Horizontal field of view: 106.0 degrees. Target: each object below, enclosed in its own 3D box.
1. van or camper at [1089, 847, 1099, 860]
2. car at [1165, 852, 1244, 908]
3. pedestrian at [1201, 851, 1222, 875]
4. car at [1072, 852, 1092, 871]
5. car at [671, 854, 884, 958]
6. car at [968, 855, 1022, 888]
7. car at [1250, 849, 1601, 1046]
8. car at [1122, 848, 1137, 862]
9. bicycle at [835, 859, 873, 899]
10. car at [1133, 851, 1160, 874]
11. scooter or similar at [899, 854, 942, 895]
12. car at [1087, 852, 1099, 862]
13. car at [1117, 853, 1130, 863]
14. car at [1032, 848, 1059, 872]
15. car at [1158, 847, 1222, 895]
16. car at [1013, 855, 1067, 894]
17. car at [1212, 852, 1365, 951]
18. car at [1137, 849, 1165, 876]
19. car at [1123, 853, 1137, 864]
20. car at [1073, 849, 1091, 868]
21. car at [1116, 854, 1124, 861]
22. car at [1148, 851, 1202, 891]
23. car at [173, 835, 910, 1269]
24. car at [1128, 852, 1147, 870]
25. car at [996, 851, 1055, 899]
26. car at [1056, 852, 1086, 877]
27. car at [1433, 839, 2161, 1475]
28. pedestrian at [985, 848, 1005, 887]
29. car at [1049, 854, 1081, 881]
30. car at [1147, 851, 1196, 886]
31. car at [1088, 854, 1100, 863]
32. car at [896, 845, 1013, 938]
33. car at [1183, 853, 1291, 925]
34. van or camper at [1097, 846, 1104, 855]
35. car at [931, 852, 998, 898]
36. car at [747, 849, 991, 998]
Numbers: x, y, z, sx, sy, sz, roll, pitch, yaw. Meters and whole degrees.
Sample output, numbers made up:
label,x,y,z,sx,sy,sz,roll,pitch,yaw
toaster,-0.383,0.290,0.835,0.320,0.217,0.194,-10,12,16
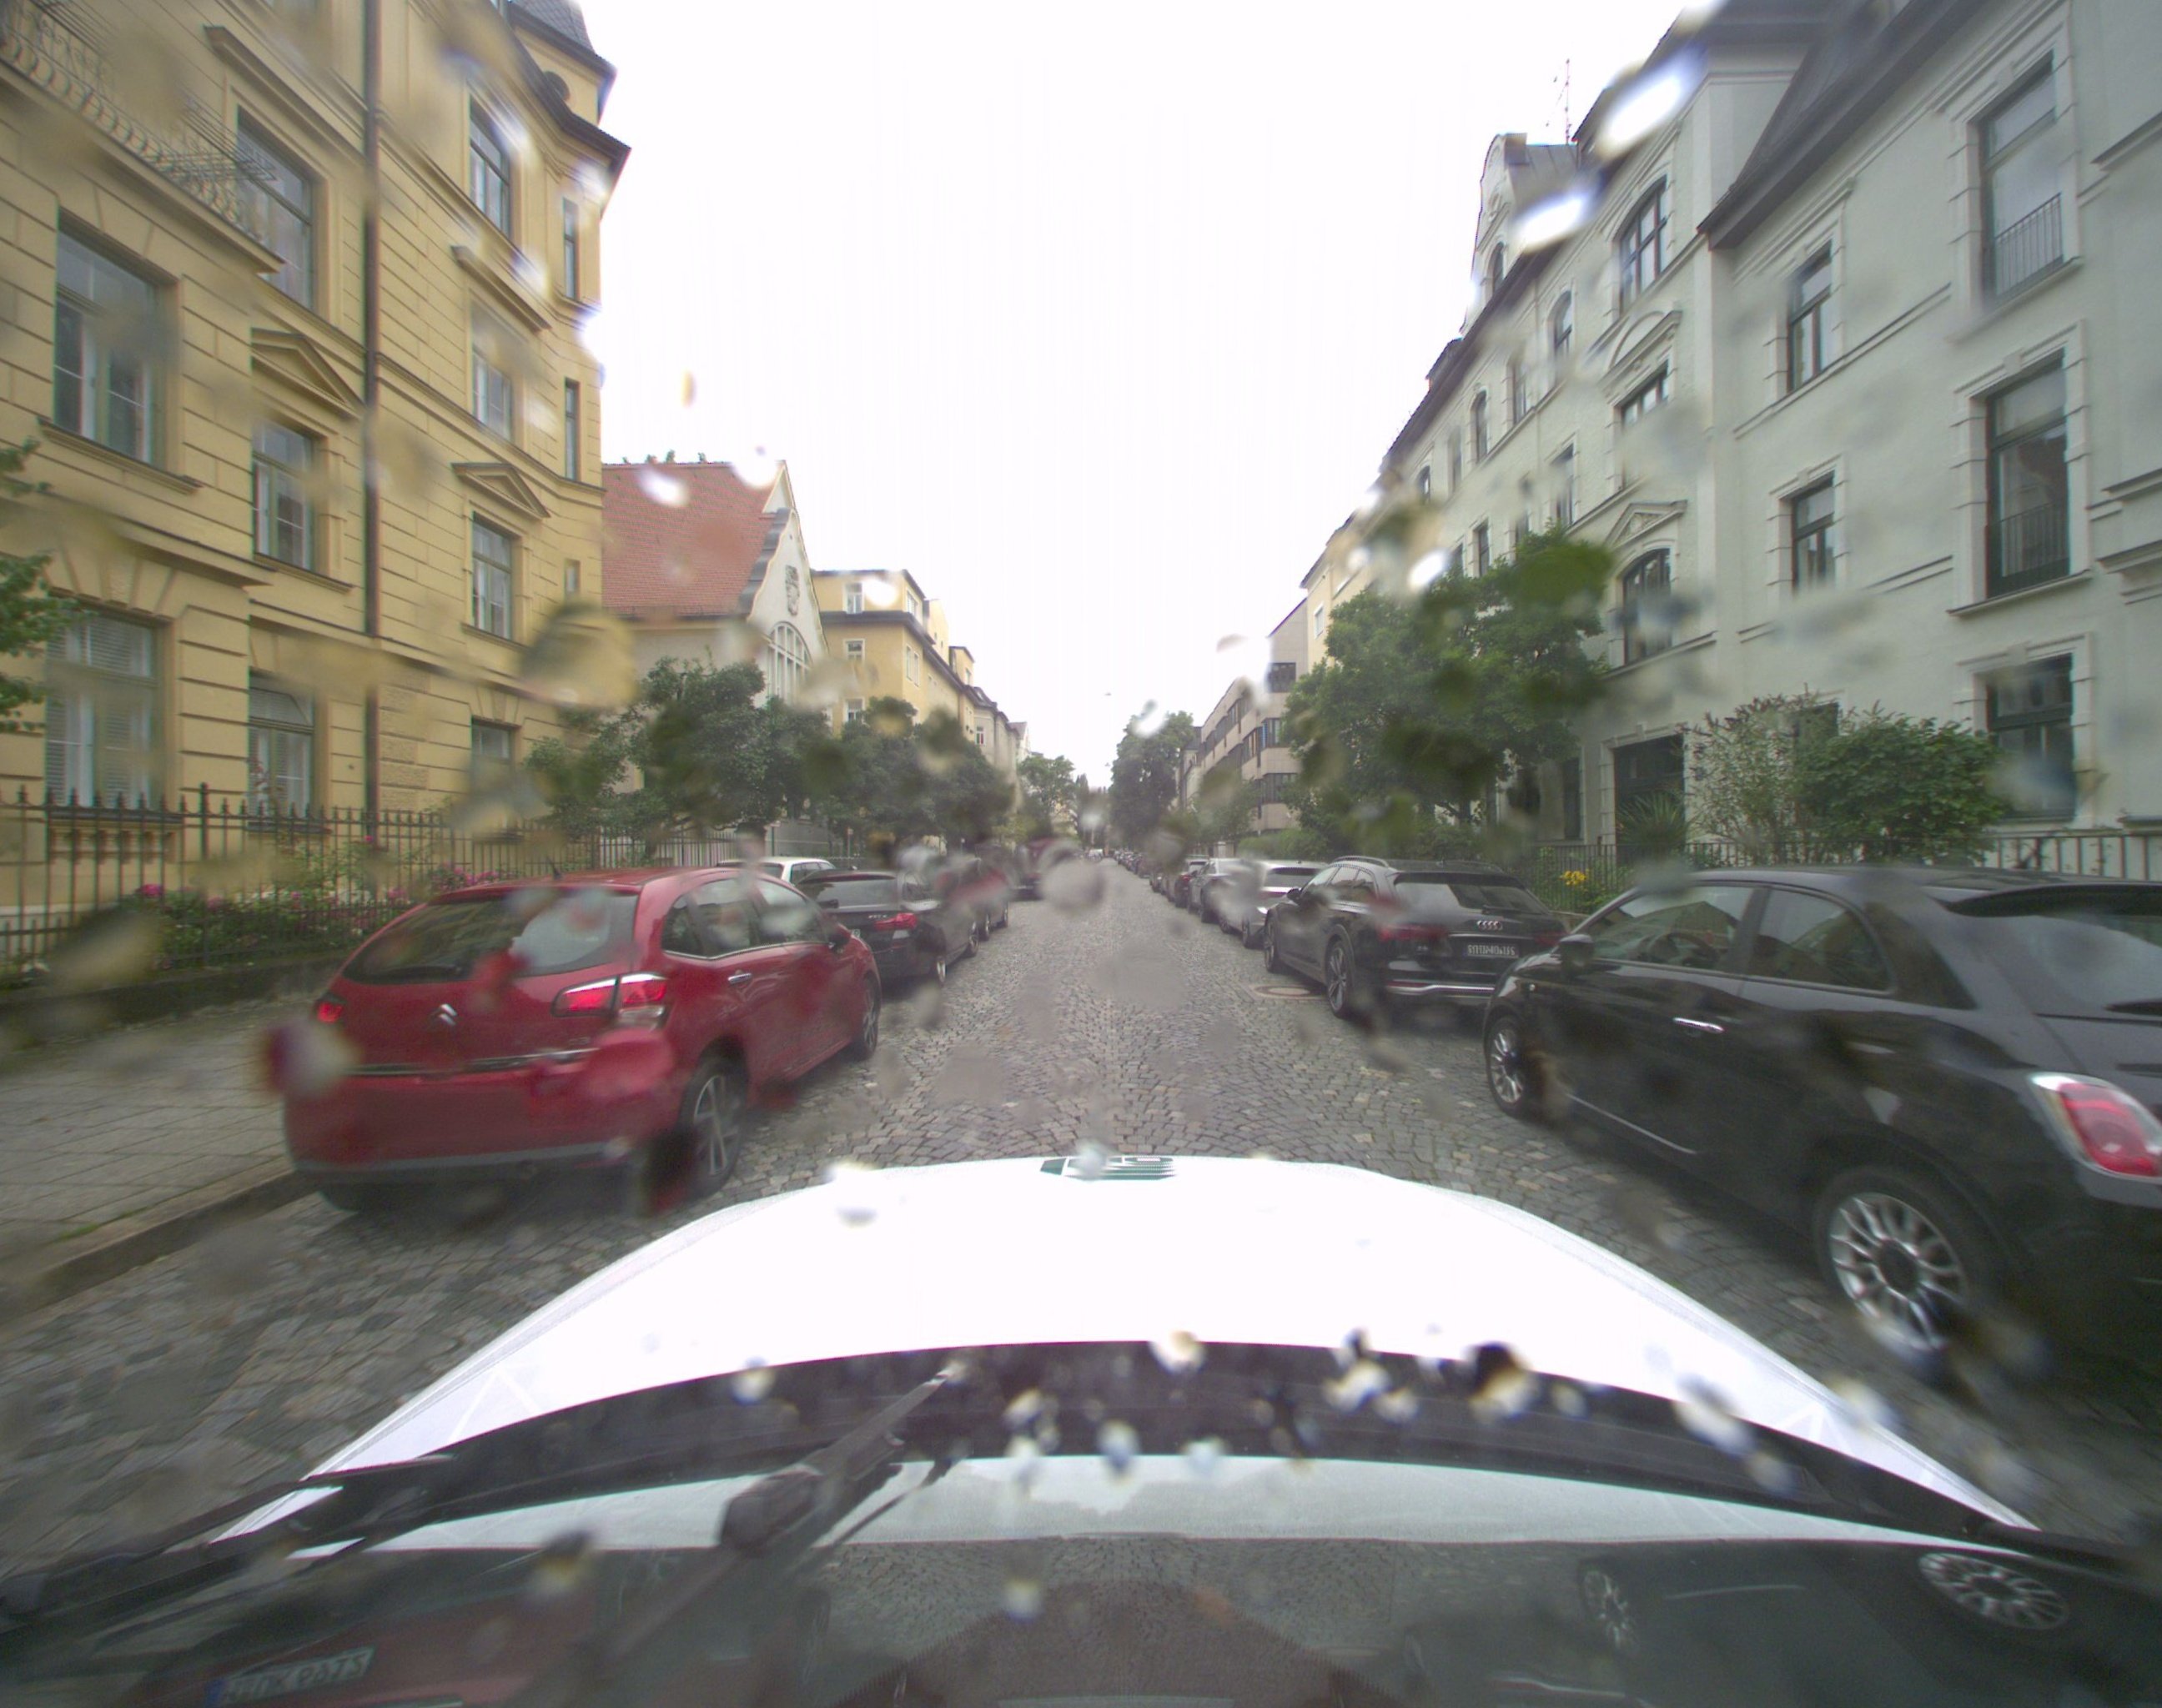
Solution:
label,x,y,z,sx,sy,sz,roll,pitch,yaw
van or camper,2.804,-0.125,172.999,1.986,2.652,4.002,-3,0,2
car,3.689,0.731,25.109,1.812,1.488,5.052,2,0,2
pedestrian,8.819,0.604,55.135,1.211,1.493,1.130,-3,0,4
car,0.092,0.741,83.862,1.860,1.735,4.402,-3,0,-1
car,-4.869,0.750,13.849,1.835,1.466,4.391,0,0,2
car,-3.894,0.744,37.417,1.768,1.417,4.564,1,0,3
car,3.277,0.747,9.055,1.897,1.503,5.108,2,0,2
car,7.090,0.115,120.110,1.867,1.928,5.163,2,0,0
bicycle,-7.552,0.811,27.169,0.603,1.259,2.061,0,0,2
car,5.220,0.674,65.121,1.853,1.702,4.815,2,0,2
scooter or similar,-6.230,0.780,31.753,1.058,1.523,2.636,-1,0,2
car,2.064,0.572,140.317,1.867,1.580,4.254,-3,0,0
car,6.826,0.574,132.120,1.867,1.503,4.510,2,0,0
car,-2.988,0.486,70.167,1.987,1.931,5.331,1,0,1
car,3.968,0.585,30.311,1.887,1.654,4.295,1,0,1
car,-1.697,0.838,35.321,1.807,1.455,4.916,-3,0,3
car,3.540,0.732,14.720,1.748,1.460,4.483,2,0,2
car,4.819,0.545,56.657,1.613,1.751,3.887,2,0,1
car,6.848,0.583,114.404,1.829,1.490,4.424,2,0,3
car,0.125,0.467,88.992,1.866,1.917,4.828,-3,0,1
car,9.349,0.812,193.798,1.783,1.520,4.002,-1,0,2
car,3.982,0.688,35.208,1.985,1.552,4.989,1,0,3
car,-2.497,0.758,5.200,1.835,1.586,4.192,-2,0,0
car,5.649,0.675,81.563,1.865,1.735,4.896,1,0,3
car,-1.986,0.733,30.332,1.733,1.603,4.538,-2,0,1
car,-0.719,0.776,64.415,1.998,1.809,5.178,-3,0,3
car,3.236,0.748,3.781,1.661,1.508,3.687,2,0,1
pedestrian,-3.698,0.586,35.037,0.763,1.650,0.583,0,0,3
car,-0.963,0.811,51.043,1.707,1.562,4.392,-3,0,2
car,4.430,0.683,40.468,1.986,1.552,5.016,2,0,2
car,2.552,0.854,158.098,1.864,1.580,4.214,1,0,5
car,-2.415,0.680,16.523,1.735,1.586,4.190,-2,0,-1
car,3.662,0.766,19.972,1.875,1.488,4.816,2,0,2
van or camper,6.202,-1.101,257.695,2.247,2.742,5.100,0,0,2
car,-4.231,0.731,30.262,1.733,1.536,4.468,1,0,1
car,-2.476,0.728,10.988,1.864,1.470,5.133,-2,0,0
